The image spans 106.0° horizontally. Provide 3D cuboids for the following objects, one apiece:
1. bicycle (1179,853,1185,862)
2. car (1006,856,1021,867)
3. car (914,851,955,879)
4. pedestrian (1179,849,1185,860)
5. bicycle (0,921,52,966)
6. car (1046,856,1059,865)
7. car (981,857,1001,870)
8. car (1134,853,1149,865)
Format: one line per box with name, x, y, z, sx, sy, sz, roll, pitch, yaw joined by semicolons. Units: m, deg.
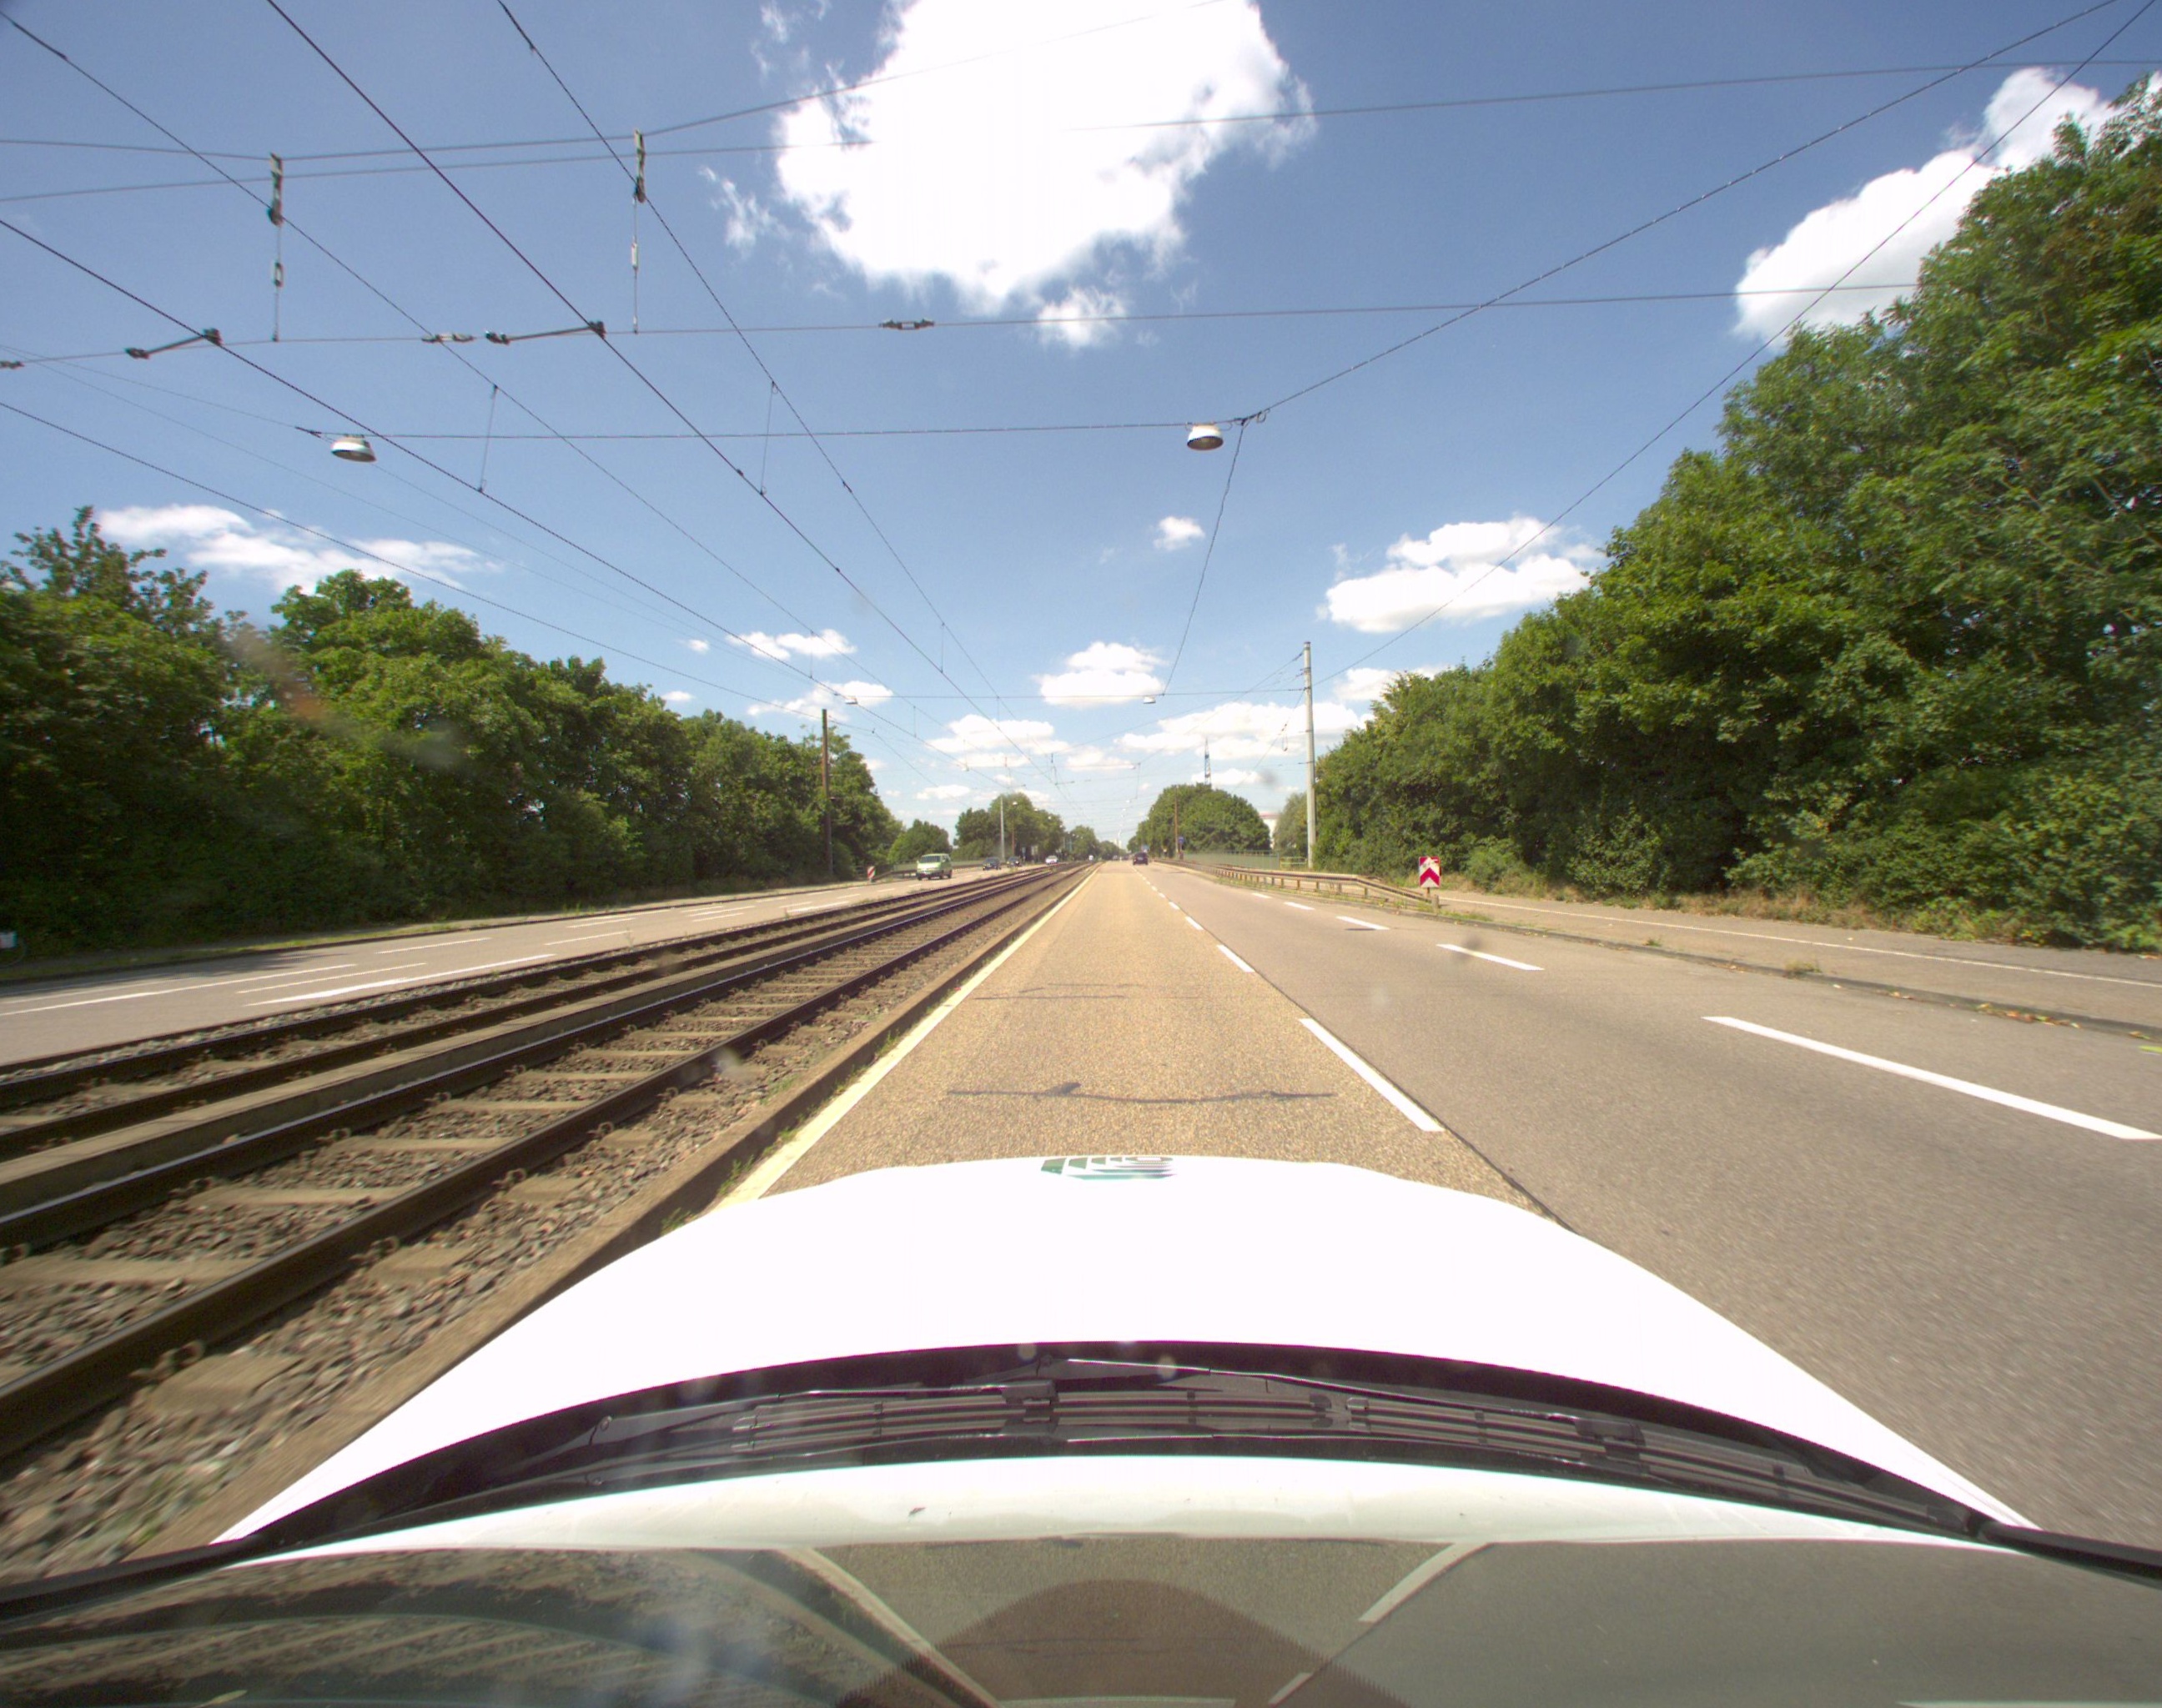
bicycle;12.836;0.467;103.552;0.557;1.024;1.849;-2;-1;3
car;-9.119;1.060;110.609;1.568;1.400;3.940;-2;0;2
car;-10.918;0.779;60.924;1.804;1.925;5.182;-2;-1;3
pedestrian;12.832;0.116;103.507;0.625;1.374;1.051;-2;-1;2
bicycle;-21.651;1.814;15.817;0.583;0.819;2.071;-3;0;5
car;-4.709;1.095;133.388;1.704;1.420;4.627;-2;0;3
car;-10.047;1.044;91.391;1.557;1.347;3.931;-2;-1;3
car;7.146;0.582;96.982;1.580;1.343;3.273;-2;0;1
